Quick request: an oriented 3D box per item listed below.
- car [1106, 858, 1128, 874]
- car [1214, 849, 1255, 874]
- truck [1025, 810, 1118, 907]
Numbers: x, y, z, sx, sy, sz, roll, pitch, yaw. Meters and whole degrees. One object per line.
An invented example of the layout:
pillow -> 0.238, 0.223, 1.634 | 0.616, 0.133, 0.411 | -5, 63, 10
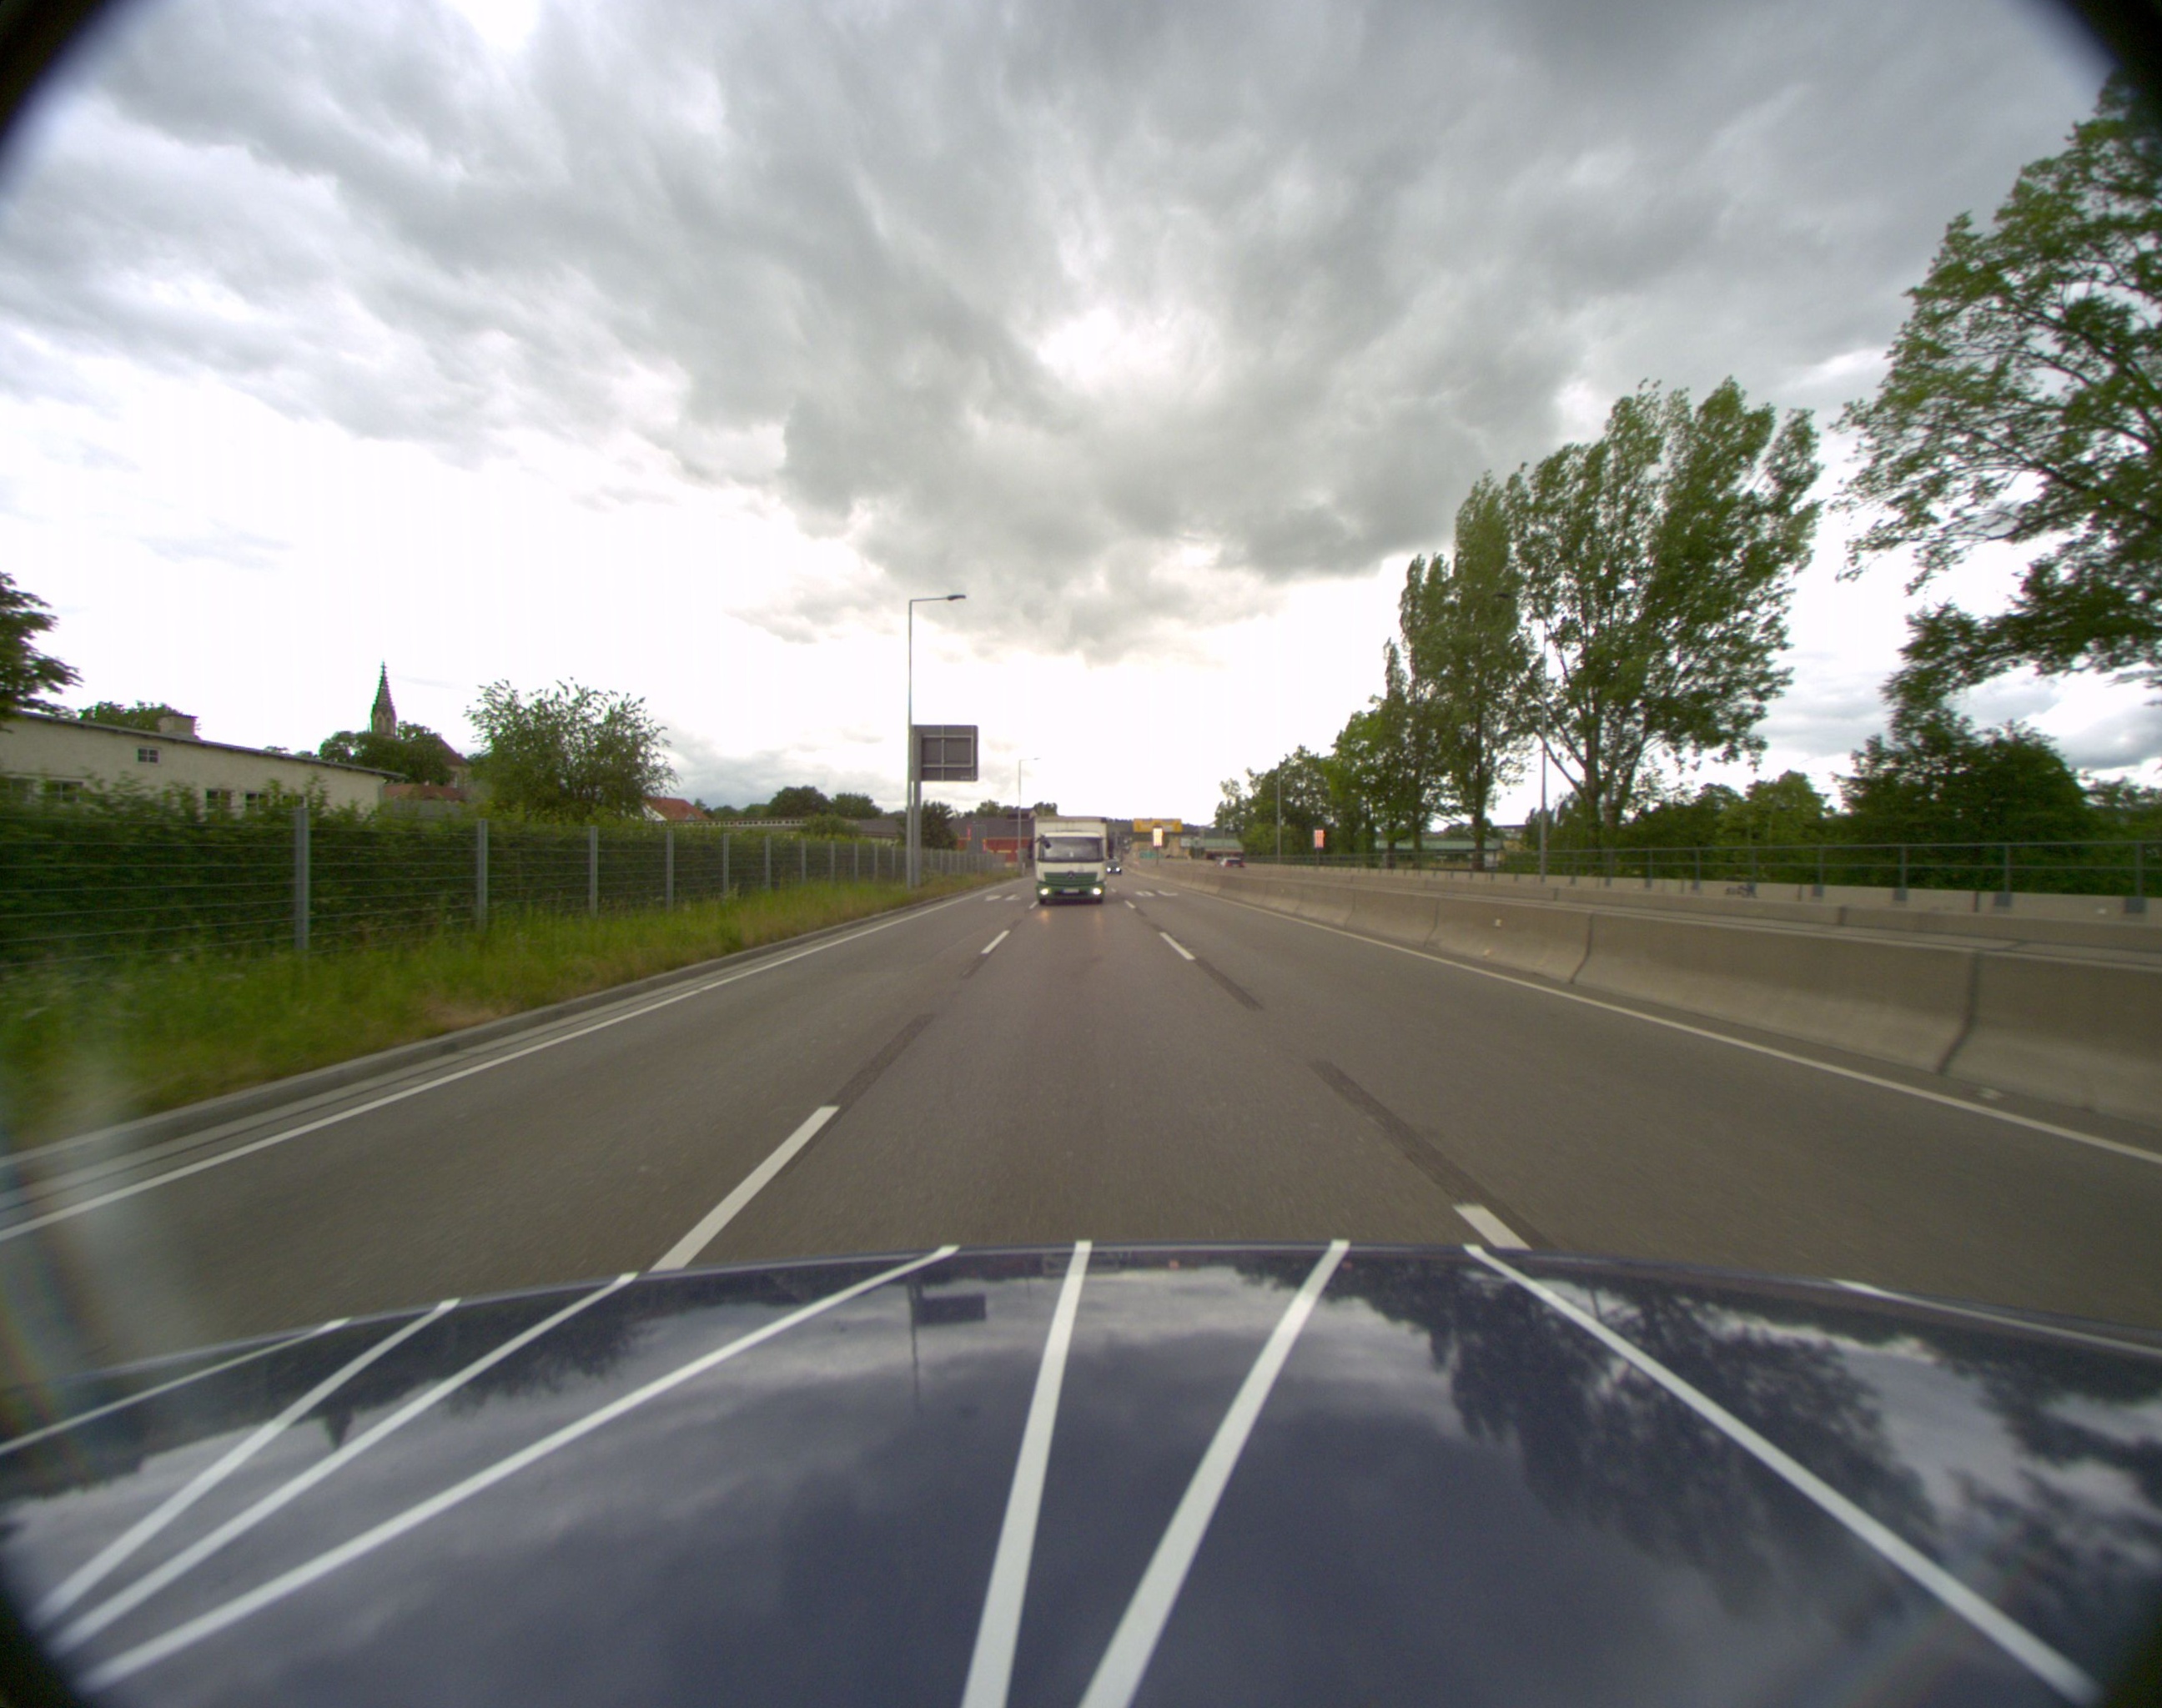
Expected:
car -> 3.592, 1.159, 76.476 | 1.998, 1.444, 4.000 | -2, 0, 1
car -> 12.351, 0.562, 61.517 | 2.335, 1.914, 5.002 | -2, 0, 1
truck -> -0.375, 0.134, 29.107 | 2.943, 3.065, 8.385 | -2, 0, -1
